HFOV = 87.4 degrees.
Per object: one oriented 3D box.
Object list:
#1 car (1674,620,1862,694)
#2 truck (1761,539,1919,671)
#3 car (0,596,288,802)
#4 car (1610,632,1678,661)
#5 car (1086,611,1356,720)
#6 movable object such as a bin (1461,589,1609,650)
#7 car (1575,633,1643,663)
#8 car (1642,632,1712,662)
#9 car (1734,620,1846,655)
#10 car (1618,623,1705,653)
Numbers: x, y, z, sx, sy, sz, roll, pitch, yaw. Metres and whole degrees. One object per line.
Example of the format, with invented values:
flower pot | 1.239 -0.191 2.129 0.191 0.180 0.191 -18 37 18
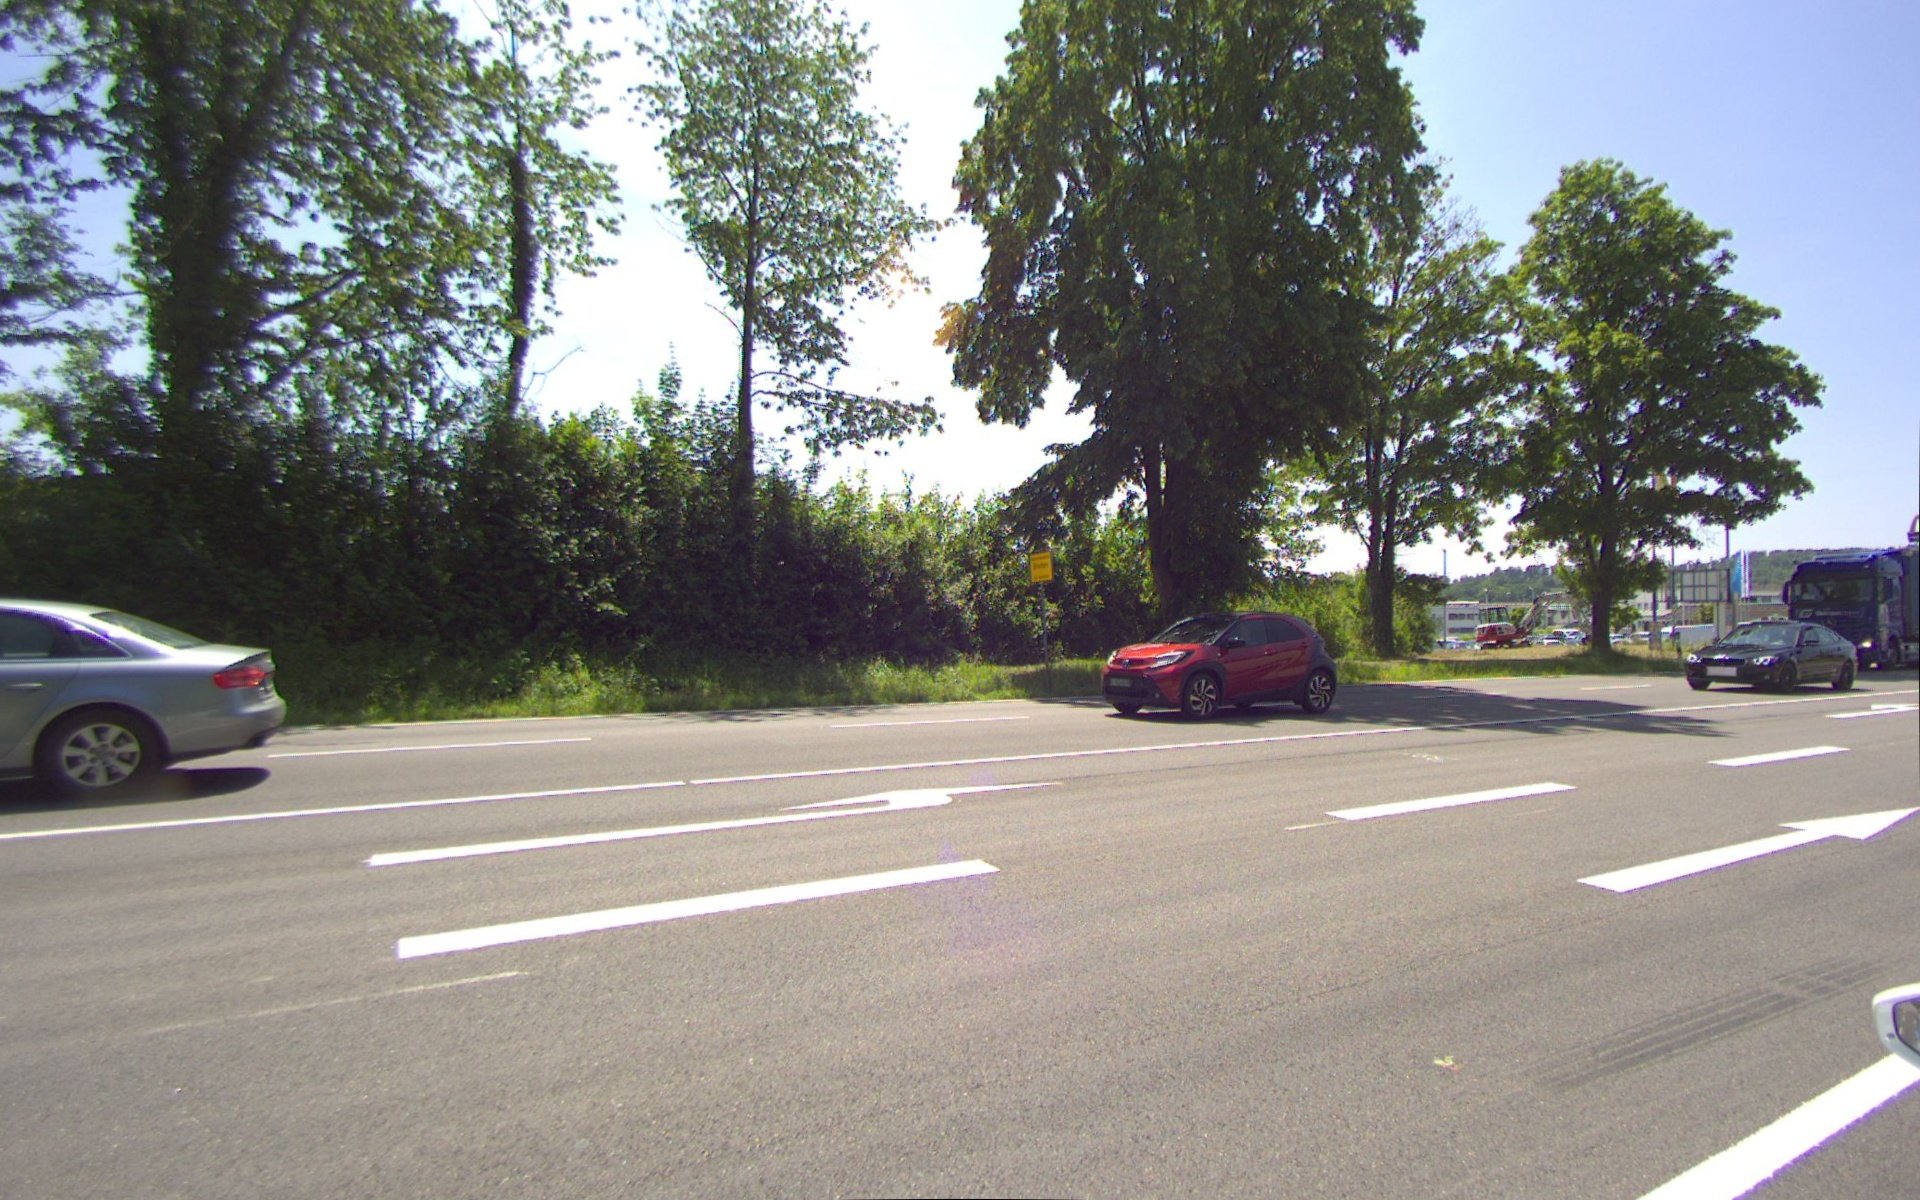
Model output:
car | 18.115 1.242 22.462 4.636 1.500 1.908 2 -2 -32
truck | 35.546 0.357 37.682 16.380 4.232 2.954 1 -2 -31
car | -7.444 0.671 7.442 3.954 1.405 1.758 2 -1 -31
car | 41.487 2.802 61.028 1.803 1.639 4.003 1 -1 8
car | 3.967 0.919 15.091 3.971 1.457 1.633 1 -1 -31
movable object such as a bin | 32.521 1.090 57.062 6.654 3.342 3.055 0 -1 11
car | 39.334 2.861 60.972 1.959 1.673 4.003 1 -1 8
car | 43.282 2.802 60.722 1.803 1.639 4.003 1 -1 8
car | 51.517 2.289 62.487 5.126 2.040 1.996 0 -1 30
car | 53.155 2.842 76.220 5.087 2.212 2.001 0 -1 8
